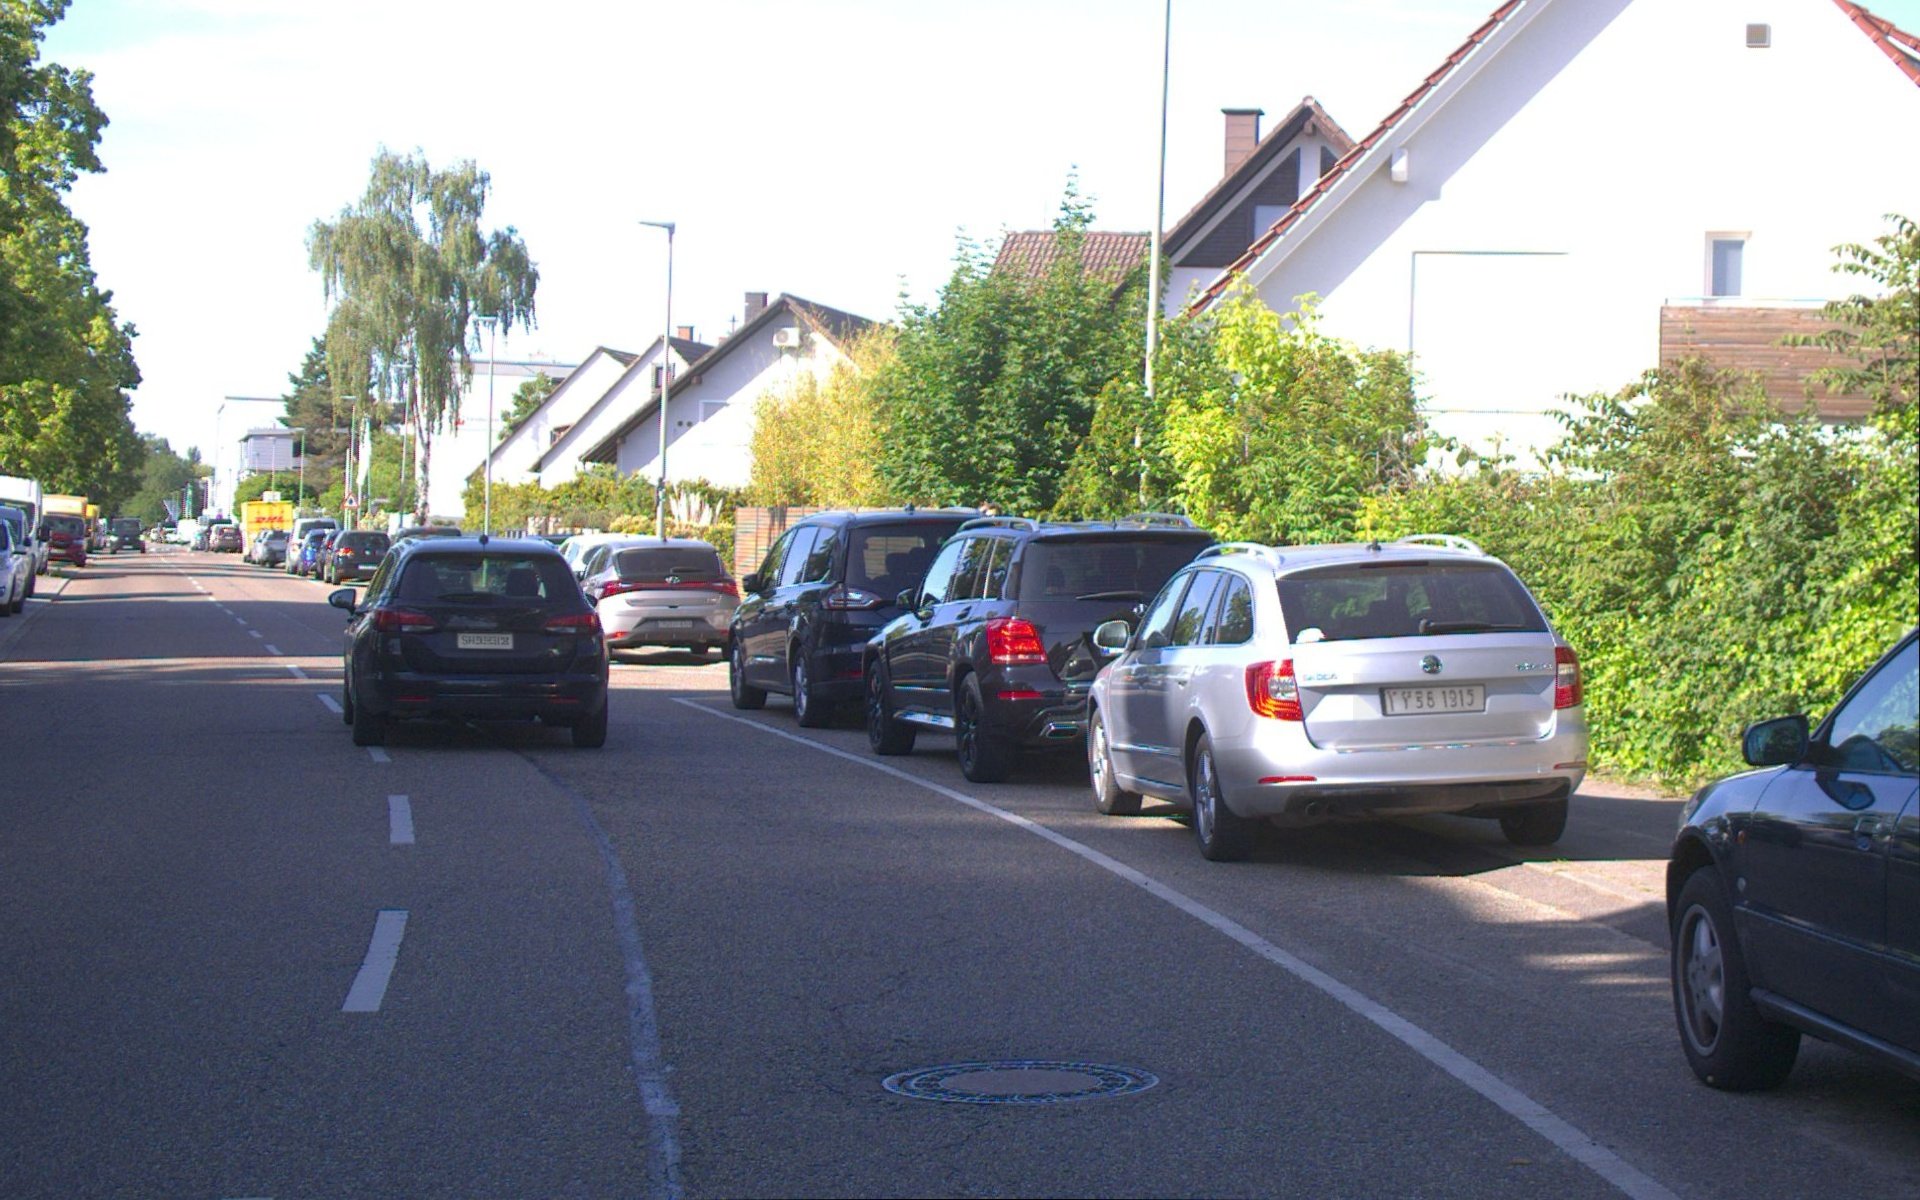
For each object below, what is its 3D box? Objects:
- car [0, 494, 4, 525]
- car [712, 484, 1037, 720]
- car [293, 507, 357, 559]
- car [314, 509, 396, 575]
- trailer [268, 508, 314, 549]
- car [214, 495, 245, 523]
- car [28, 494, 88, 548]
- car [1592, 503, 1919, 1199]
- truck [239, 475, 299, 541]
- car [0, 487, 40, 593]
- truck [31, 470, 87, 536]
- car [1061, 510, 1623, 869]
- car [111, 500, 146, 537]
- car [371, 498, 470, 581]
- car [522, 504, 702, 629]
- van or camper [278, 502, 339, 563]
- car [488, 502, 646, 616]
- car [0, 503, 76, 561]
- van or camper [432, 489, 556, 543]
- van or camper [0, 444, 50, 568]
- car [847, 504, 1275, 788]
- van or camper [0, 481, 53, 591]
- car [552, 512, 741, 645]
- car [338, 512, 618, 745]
[{"bbox_3d":[-12.670,-0.604,41.474,1.721,1.587,3.910,7,0,-11],"label":"car"},{"bbox_3d":[-0.811,-0.042,28.835,1.742,1.807,4.431,1,1,-14],"label":"car"},{"bbox_3d":[-19.566,-2.079,105.800,1.718,1.499,3.565,2,1,-13],"label":"car"},{"bbox_3d":[-16.295,-1.579,92.507,1.775,1.653,3.817,2,1,-15],"label":"car"},{"bbox_3d":[-25.975,-2.787,133.410,1.626,1.533,3.199,2,1,-12],"label":"trailer"},{"bbox_3d":[-49.972,-6.217,235.152,1.918,1.819,4.081,2,1,-13],"label":"car"},{"bbox_3d":[-31.448,-2.764,119.927,1.803,1.746,4.343,3,1,-13],"label":"car"},{"bbox_3d":[2.918,0.570,8.181,1.653,1.558,4.465,1,1,-4],"label":"car"},{"bbox_3d":[-31.530,-4.170,156.720,2.402,2.926,7.018,-1,1,-14],"label":"truck"},{"bbox_3d":[-15.391,-1.011,53.448,1.692,1.560,3.908,5,1,-11],"label":"car"},{"bbox_3d":[-43.472,-4.682,165.891,2.402,2.973,7.248,3,0,-15],"label":"truck"},{"bbox_3d":[1.773,0.345,17.591,1.762,1.558,4.663,1,1,-7],"label":"car"},{"bbox_3d":[-46.630,-4.589,192.847,1.893,2.024,4.819,0,1,-13],"label":"car"},{"bbox_3d":[-11.576,-1.311,73.588,1.775,1.653,4.305,2,1,-12],"label":"car"},{"bbox_3d":[-4.899,-0.491,47.982,1.723,1.595,3.817,2,1,-17],"label":"car"},{"bbox_3d":[-21.244,-2.215,111.954,1.718,1.884,4.181,2,1,-13],"label":"van or camper"},{"bbox_3d":[-6.030,-0.649,52.434,1.656,1.595,3.817,2,1,-17],"label":"car"},{"bbox_3d":[-25.052,-1.871,93.434,1.686,1.430,4.210,4,1,-12],"label":"car"},{"bbox_3d":[-23.355,-4.198,172.376,5.815,2.532,2.289,1,1,-41],"label":"van or camper"},{"bbox_3d":[-20.539,-2.037,73.070,2.122,2.481,5.557,4,1,-14],"label":"van or camper"},{"bbox_3d":[0.546,0.226,22.807,1.762,1.670,4.396,1,1,-13],"label":"car"},{"bbox_3d":[-18.400,-1.258,65.647,1.877,2.007,4.281,2,1,-13],"label":"van or camper"},{"bbox_3d":[-3.834,-0.292,41.489,1.641,1.488,3.891,1,1,-14],"label":"car"},{"bbox_3d":[-3.575,0.153,25.019,1.711,1.527,3.689,1,1,-12],"label":"car"}]
